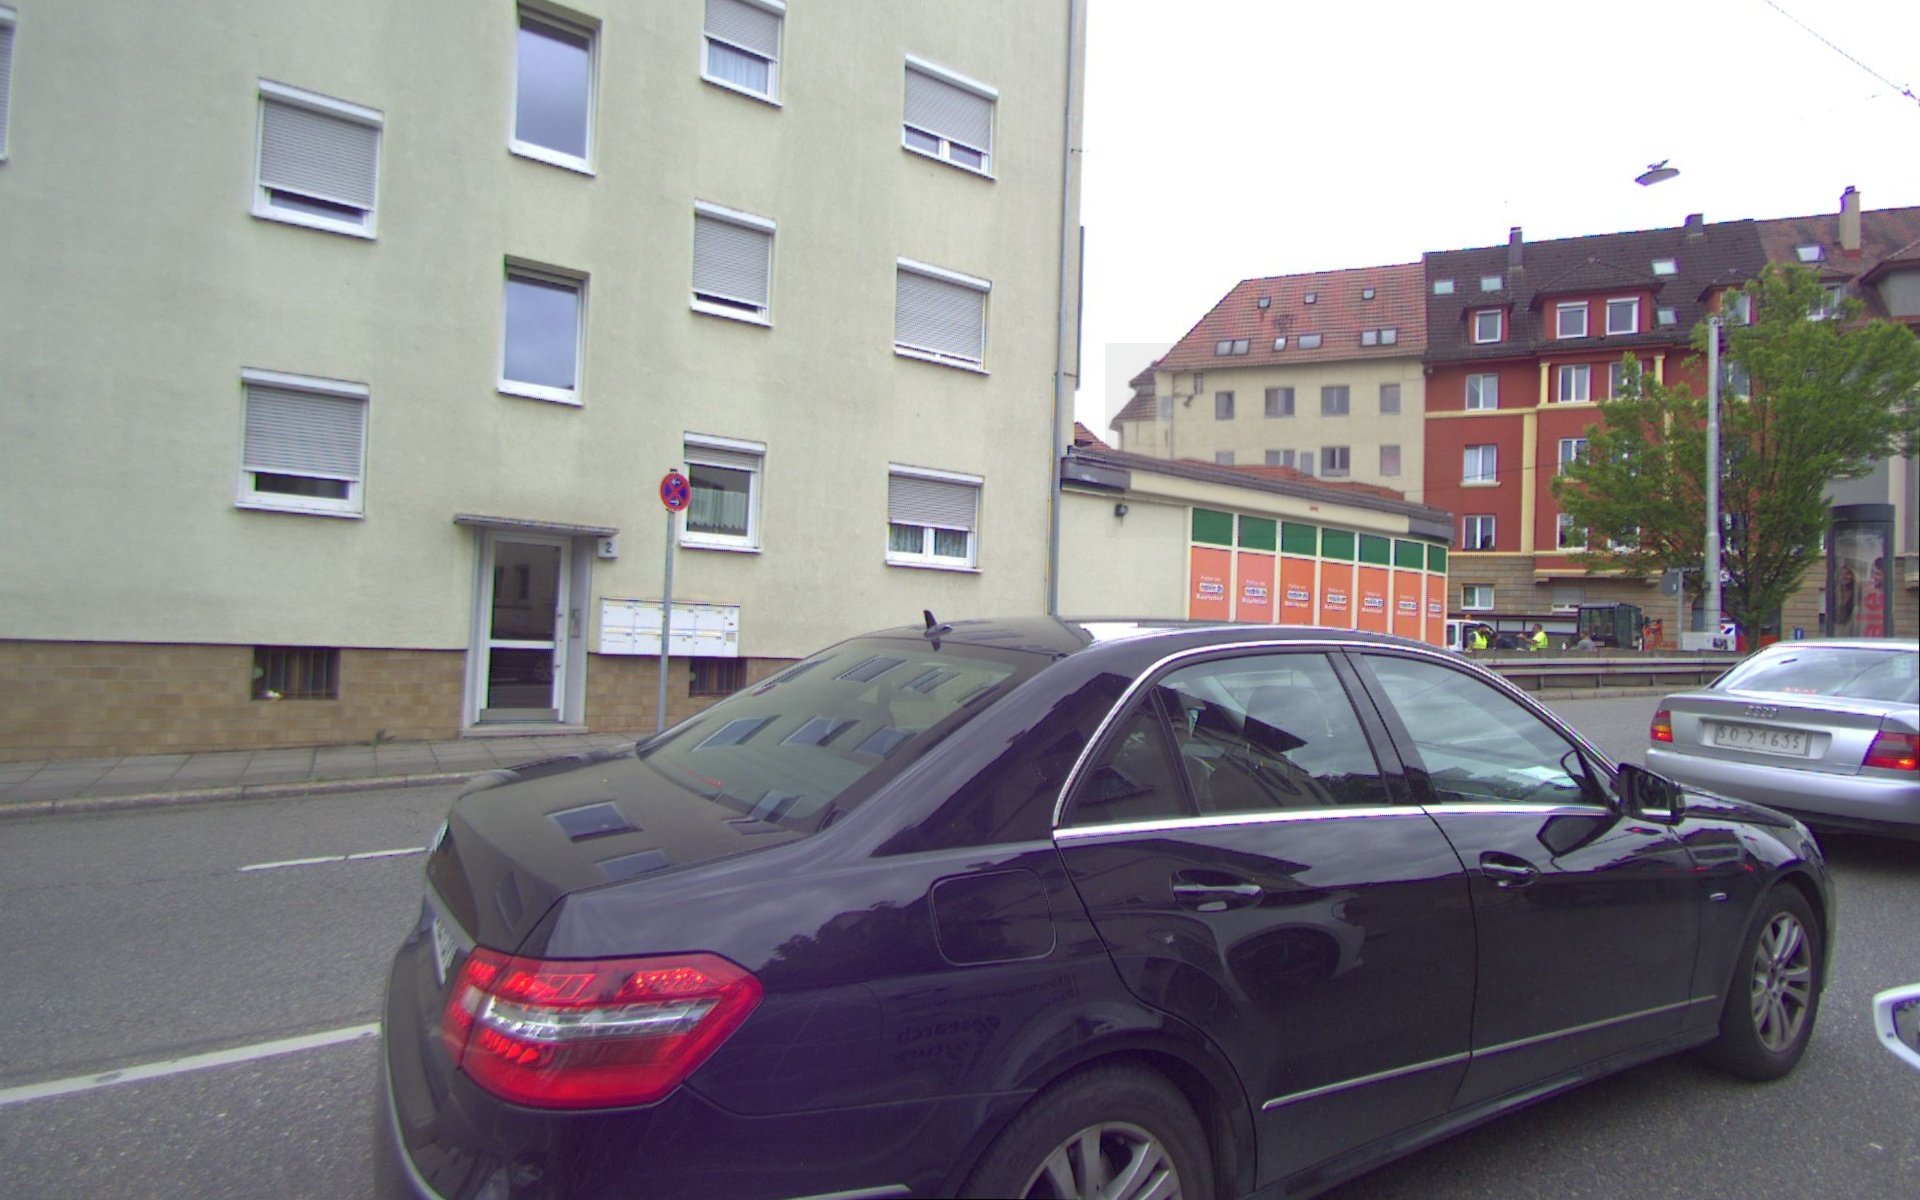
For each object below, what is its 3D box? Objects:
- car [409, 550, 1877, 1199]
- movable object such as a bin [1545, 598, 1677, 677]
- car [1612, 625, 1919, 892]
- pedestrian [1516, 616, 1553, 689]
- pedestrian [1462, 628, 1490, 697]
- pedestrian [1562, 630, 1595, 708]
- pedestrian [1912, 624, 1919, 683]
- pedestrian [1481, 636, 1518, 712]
[{"bbox_3d":[0.829,0.734,3.101,4.394,1.473,1.739,2,-1,-30],"label":"car"},{"bbox_3d":[16.595,0.910,25.546,3.972,1.795,1.884,2,1,-43],"label":"movable object such as a bin"},{"bbox_3d":[6.723,0.902,7.097,4.122,1.391,1.690,0,0,-26],"label":"car"},{"bbox_3d":[14.515,1.311,25.365,0.612,1.785,0.566,1,1,-38],"label":"pedestrian"},{"bbox_3d":[13.575,1.637,26.418,0.467,1.753,0.543,2,1,14],"label":"pedestrian"},{"bbox_3d":[14.375,1.595,23.353,0.533,1.753,0.593,3,1,26],"label":"pedestrian"},{"bbox_3d":[26.118,1.454,27.003,0.480,1.588,0.586,2,1,-30],"label":"pedestrian"},{"bbox_3d":[12.676,1.715,23.591,0.539,1.722,0.557,1,1,-41],"label":"pedestrian"}]
